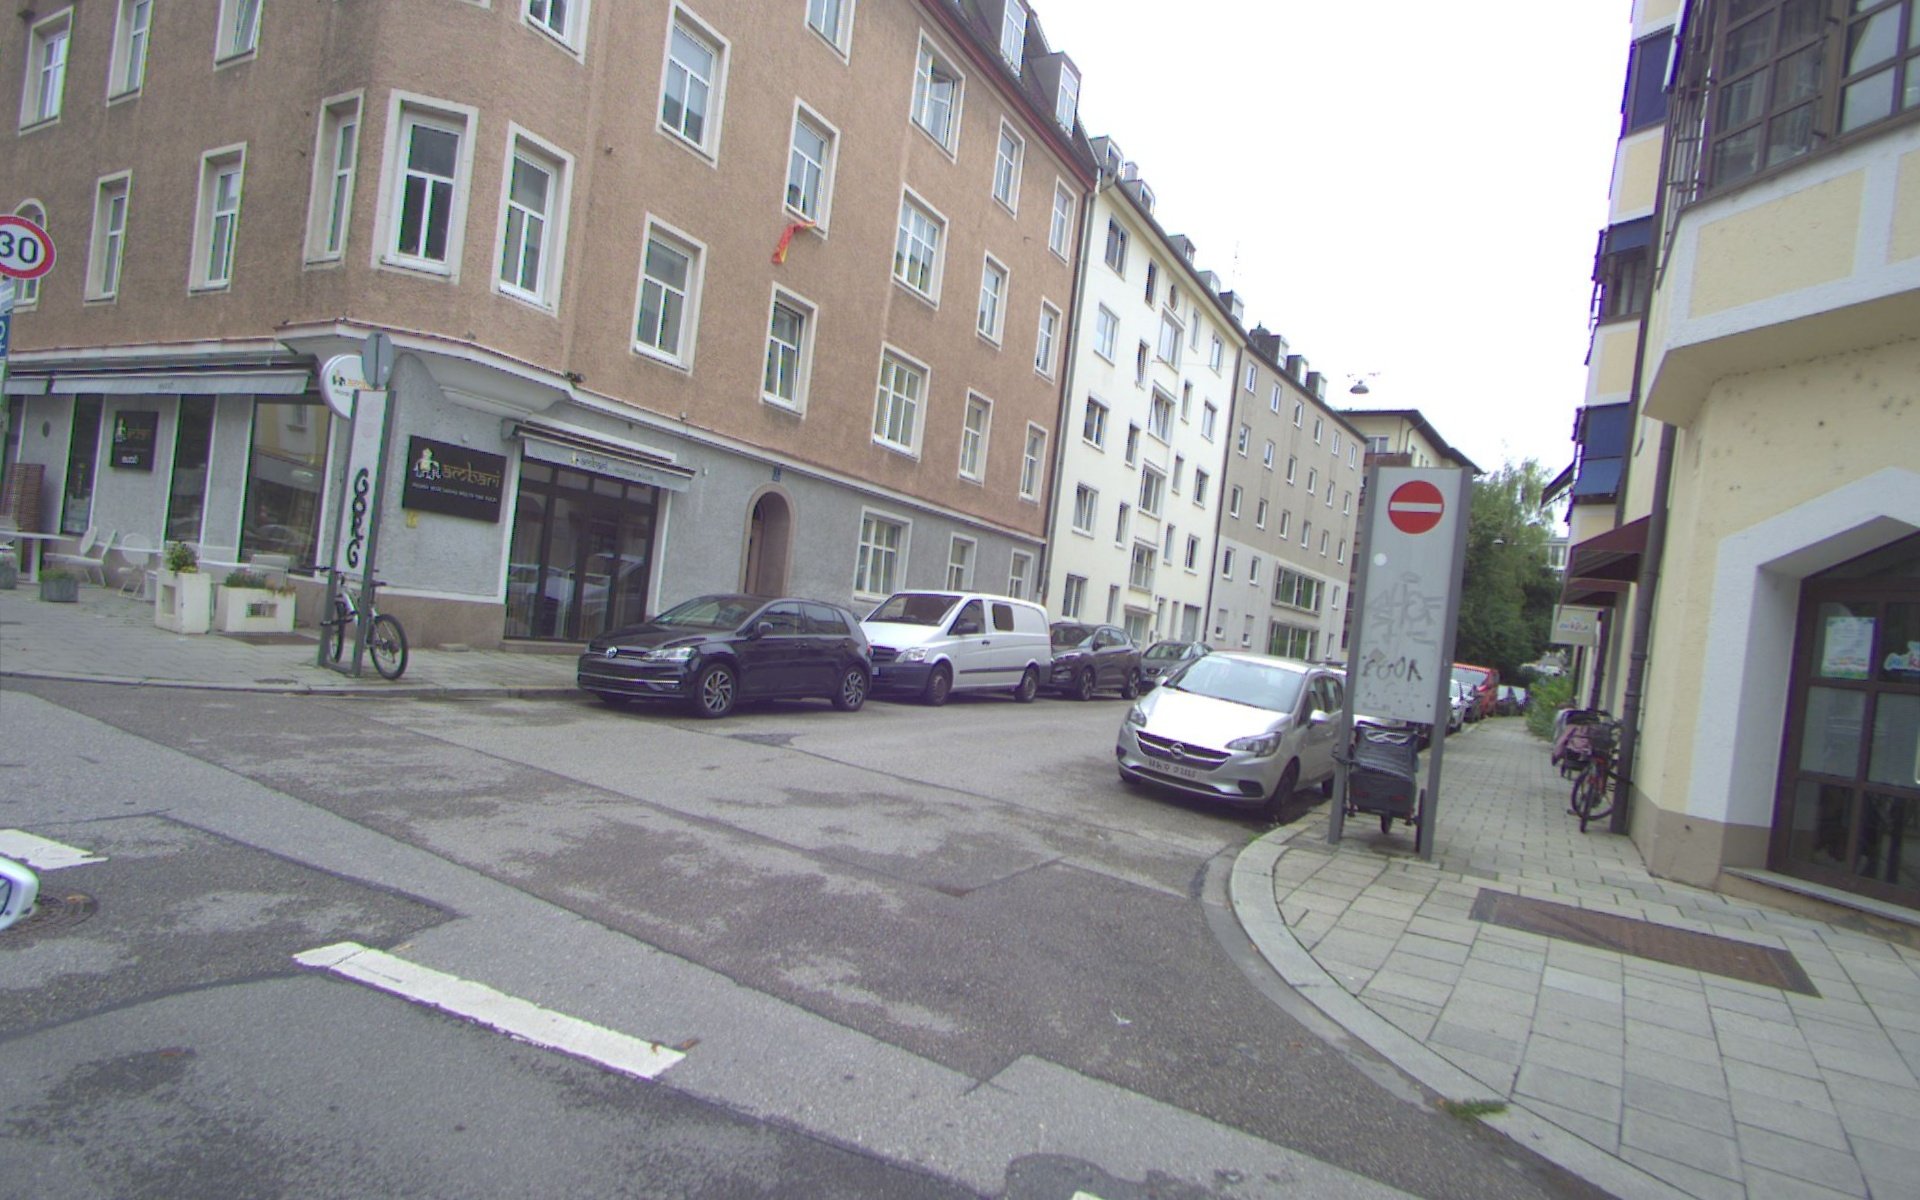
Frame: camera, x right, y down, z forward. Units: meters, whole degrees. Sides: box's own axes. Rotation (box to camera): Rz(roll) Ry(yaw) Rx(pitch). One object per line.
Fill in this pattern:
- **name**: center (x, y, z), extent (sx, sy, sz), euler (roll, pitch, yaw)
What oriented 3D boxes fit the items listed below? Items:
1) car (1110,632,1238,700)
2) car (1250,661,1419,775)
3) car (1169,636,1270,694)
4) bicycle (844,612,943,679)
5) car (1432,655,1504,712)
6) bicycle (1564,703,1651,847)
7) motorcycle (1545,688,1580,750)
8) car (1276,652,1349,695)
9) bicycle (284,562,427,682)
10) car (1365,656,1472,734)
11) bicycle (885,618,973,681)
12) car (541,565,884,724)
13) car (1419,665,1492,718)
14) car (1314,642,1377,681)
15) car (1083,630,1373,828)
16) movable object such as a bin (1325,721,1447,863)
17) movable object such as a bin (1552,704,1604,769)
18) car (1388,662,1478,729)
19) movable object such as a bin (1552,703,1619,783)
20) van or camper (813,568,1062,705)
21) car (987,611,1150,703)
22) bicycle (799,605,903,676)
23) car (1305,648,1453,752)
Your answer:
- **car**: center (6.196, 1.936, 28.680), extent (1.946, 1.521, 4.662), euler (7, -2, 32)
- **car**: center (5.841, 1.740, 15.470), extent (1.613, 1.354, 3.447), euler (6, 0, 33)
- **car**: center (8.761, 2.195, 33.718), extent (1.945, 1.587, 4.661), euler (6, 0, 30)
- **bicycle**: center (-1.370, 0.928, 20.725), extent (1.892, 1.158, 0.418), euler (7, 1, 13)
- **car**: center (21.184, 3.502, 41.832), extent (2.032, 2.002, 4.422), euler (6, -1, 33)
- **bicycle**: center (6.424, 1.682, 10.043), extent (0.507, 1.201, 1.903), euler (7, 0, 30)
- **motorcycle**: center (14.298, 2.791, 23.838), extent (0.547, 1.356, 1.882), euler (7, 0, 32)
- **car**: center (15.631, 3.249, 44.406), extent (1.946, 1.587, 4.659), euler (6, 0, 32)
- **bicycle**: center (-6.411, 0.211, 10.636), extent (1.773, 1.018, 0.496), euler (8, 3, 32)
- **car**: center (11.843, 2.419, 25.816), extent (1.945, 1.587, 4.425), euler (6, -1, 30)
- **bicycle**: center (-0.687, 1.081, 22.128), extent (1.766, 1.158, 0.418), euler (7, 1, 13)
- **car**: center (-2.860, 0.586, 12.474), extent (1.860, 1.505, 3.879), euler (6, -1, 30)
- **car**: center (18.506, 3.409, 37.463), extent (1.945, 1.587, 4.424), euler (6, -1, 31)
- **car**: center (18.874, 3.016, 49.187), extent (1.946, 1.587, 4.421), euler (6, 0, 32)
- **car**: center (3.010, 1.268, 10.736), extent (1.723, 1.458, 3.737), euler (10, 1, 33)
- **movable object such as a bin**: center (3.423, 1.488, 8.042), extent (0.672, 0.911, 1.124), euler (7, 0, 30)
- **movable object such as a bin**: center (11.244, 2.461, 18.339), extent (0.672, 1.026, 1.124), euler (7, 0, 30)
- **car**: center (14.118, 2.830, 29.883), extent (1.945, 1.587, 4.425), euler (6, -1, 30)
- **movable object such as a bin**: center (9.889, 2.238, 15.940), extent (0.754, 1.094, 1.124), euler (7, 0, 30)
- **van or camper**: center (-0.190, 0.718, 17.578), extent (1.929, 1.942, 4.908), euler (5, -2, 31)
- **car**: center (2.494, 1.274, 22.244), extent (1.946, 1.664, 3.989), euler (6, 0, 31)
- **bicycle**: center (-2.149, 0.786, 19.861), extent (1.892, 1.158, 0.475), euler (7, 1, 13)
- **car**: center (8.333, 1.929, 19.818), extent (1.952, 1.603, 4.021), euler (6, -1, 32)
